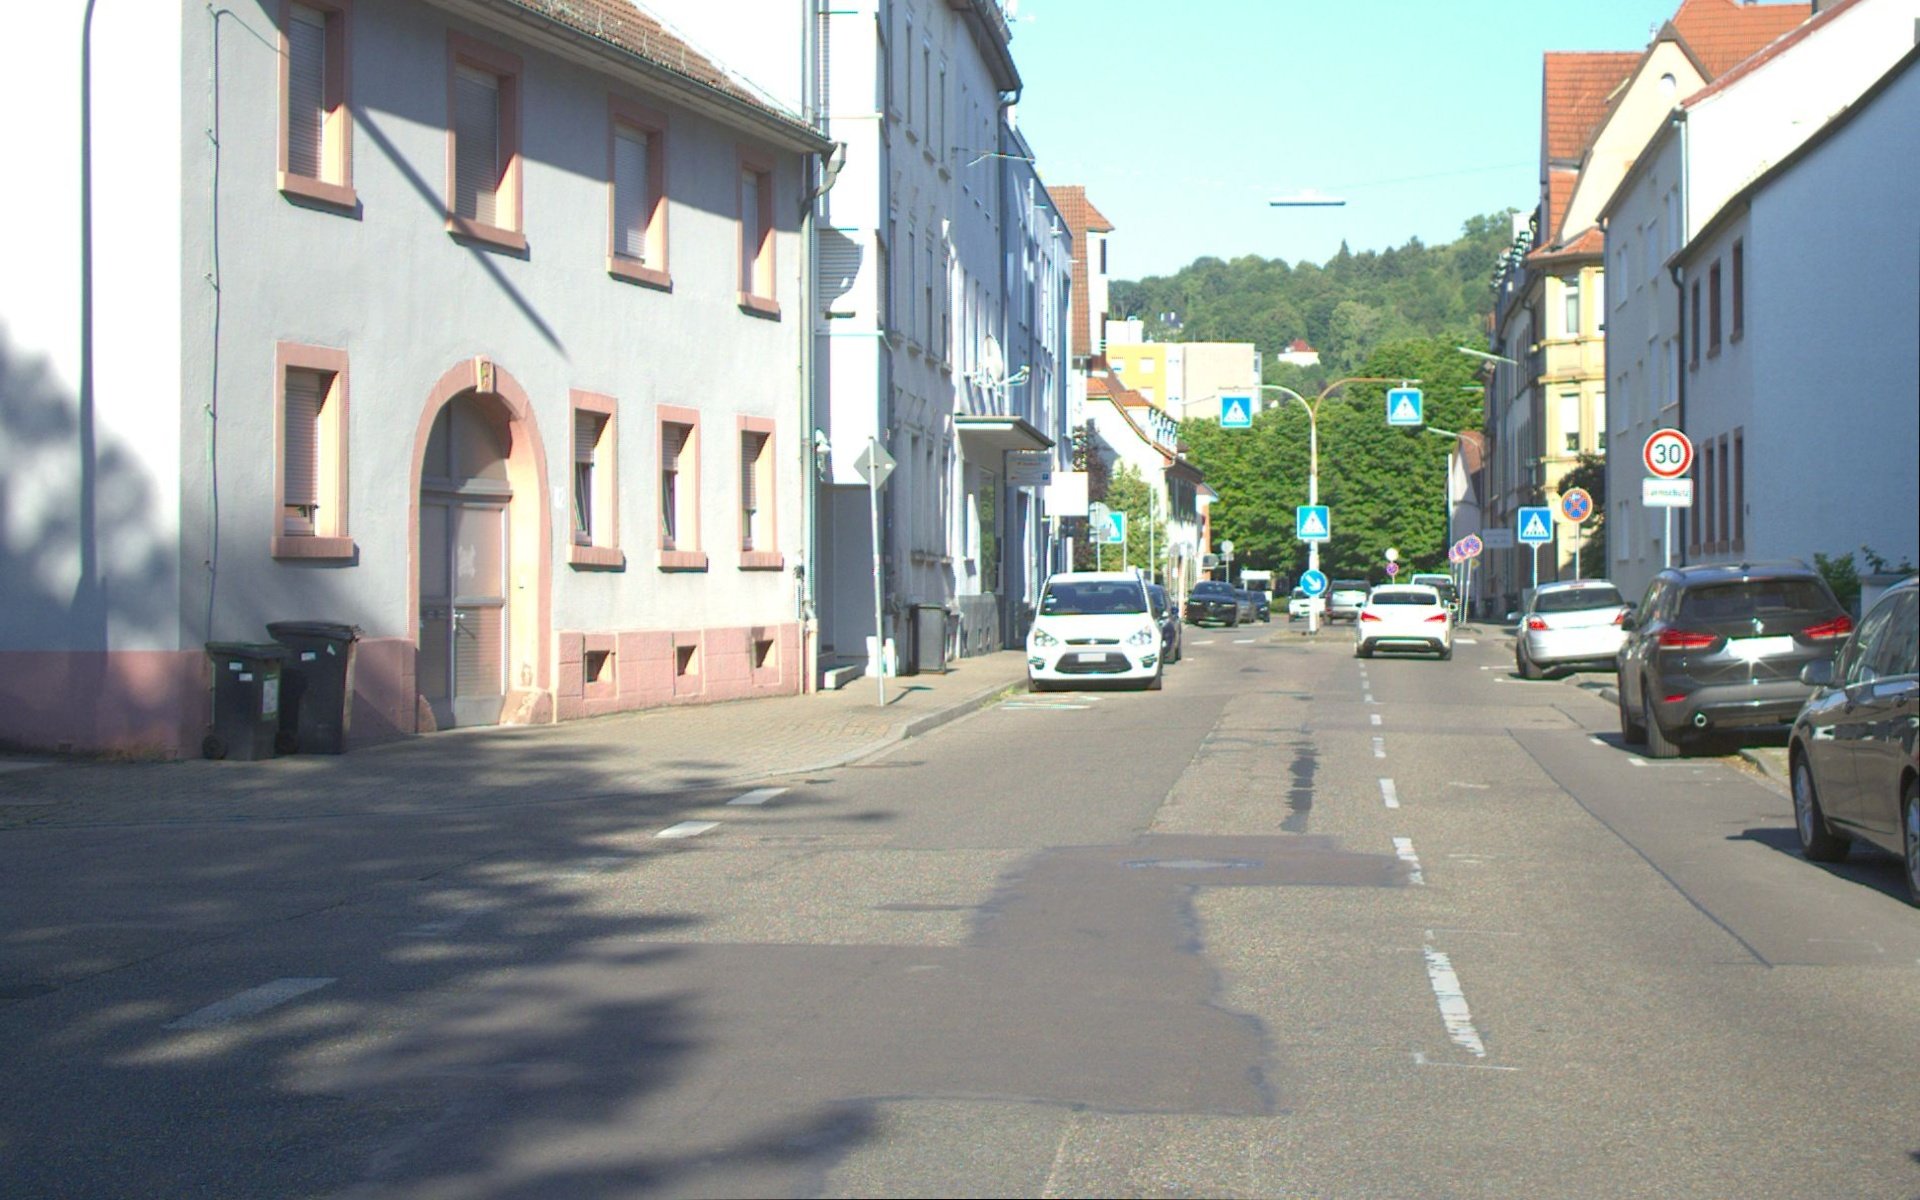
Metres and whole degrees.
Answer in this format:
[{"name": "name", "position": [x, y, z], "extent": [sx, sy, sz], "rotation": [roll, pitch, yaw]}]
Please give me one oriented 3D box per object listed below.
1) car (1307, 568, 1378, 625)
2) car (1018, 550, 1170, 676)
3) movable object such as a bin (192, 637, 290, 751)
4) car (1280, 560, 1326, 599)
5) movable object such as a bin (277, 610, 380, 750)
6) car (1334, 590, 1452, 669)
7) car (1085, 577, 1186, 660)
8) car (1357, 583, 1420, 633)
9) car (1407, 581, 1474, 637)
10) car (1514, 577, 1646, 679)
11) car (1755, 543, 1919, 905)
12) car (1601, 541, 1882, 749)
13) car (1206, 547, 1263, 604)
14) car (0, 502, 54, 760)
[{"name": "car", "position": [13.601, -0.131, 122.409], "extent": [1.993, 2.007, 4.000], "rotation": [0, 0, -2]}, {"name": "car", "position": [1.923, 0.159, 48.270], "extent": [1.994, 1.642, 5.221], "rotation": [1, 0, 3]}, {"name": "movable object such as a bin", "position": [-5.597, 0.728, 26.782], "extent": [0.598, 0.869, 0.606], "rotation": [0, 0, 4]}, {"name": "car", "position": [15.941, -0.950, 159.918], "extent": [1.807, 1.696, 4.192], "rotation": [-2, 0, 2]}, {"name": "movable object such as a bin", "position": [-5.060, 0.634, 27.571], "extent": [0.599, 1.090, 0.751], "rotation": [1, 0, 6]}, {"name": "car", "position": [8.208, 0.539, 65.497], "extent": [1.994, 1.461, 3.999], "rotation": [0, 0, 4]}, {"name": "car", "position": [3.318, 0.354, 64.488], "extent": [1.731, 1.494, 3.958], "rotation": [0, -1, 5]}, {"name": "car", "position": [17.416, 0.301, 140.017], "extent": [1.993, 2.007, 4.000], "rotation": [0, 0, -1]}, {"name": "car", "position": [16.467, 0.291, 117.966], "extent": [2.011, 1.846, 3.999], "rotation": [1, 1, 5]}, {"name": "car", "position": [9.619, 0.421, 53.574], "extent": [1.742, 1.487, 4.437], "rotation": [-1, 0, 7]}, {"name": "car", "position": [5.475, 0.539, 17.517], "extent": [1.994, 1.647, 4.762], "rotation": [0, 1, 3]}, {"name": "car", "position": [6.799, 0.349, 30.358], "extent": [1.855, 1.631, 4.622], "rotation": [-2, 0, 6]}, {"name": "car", "position": [9.958, -0.893, 124.675], "extent": [1.994, 2.007, 3.999], "rotation": [1, 0, 4]}, {"name": "car", "position": [-8.936, 0.112, 24.365], "extent": [4.364, 1.788, 1.988], "rotation": [4, 3, 7]}]
